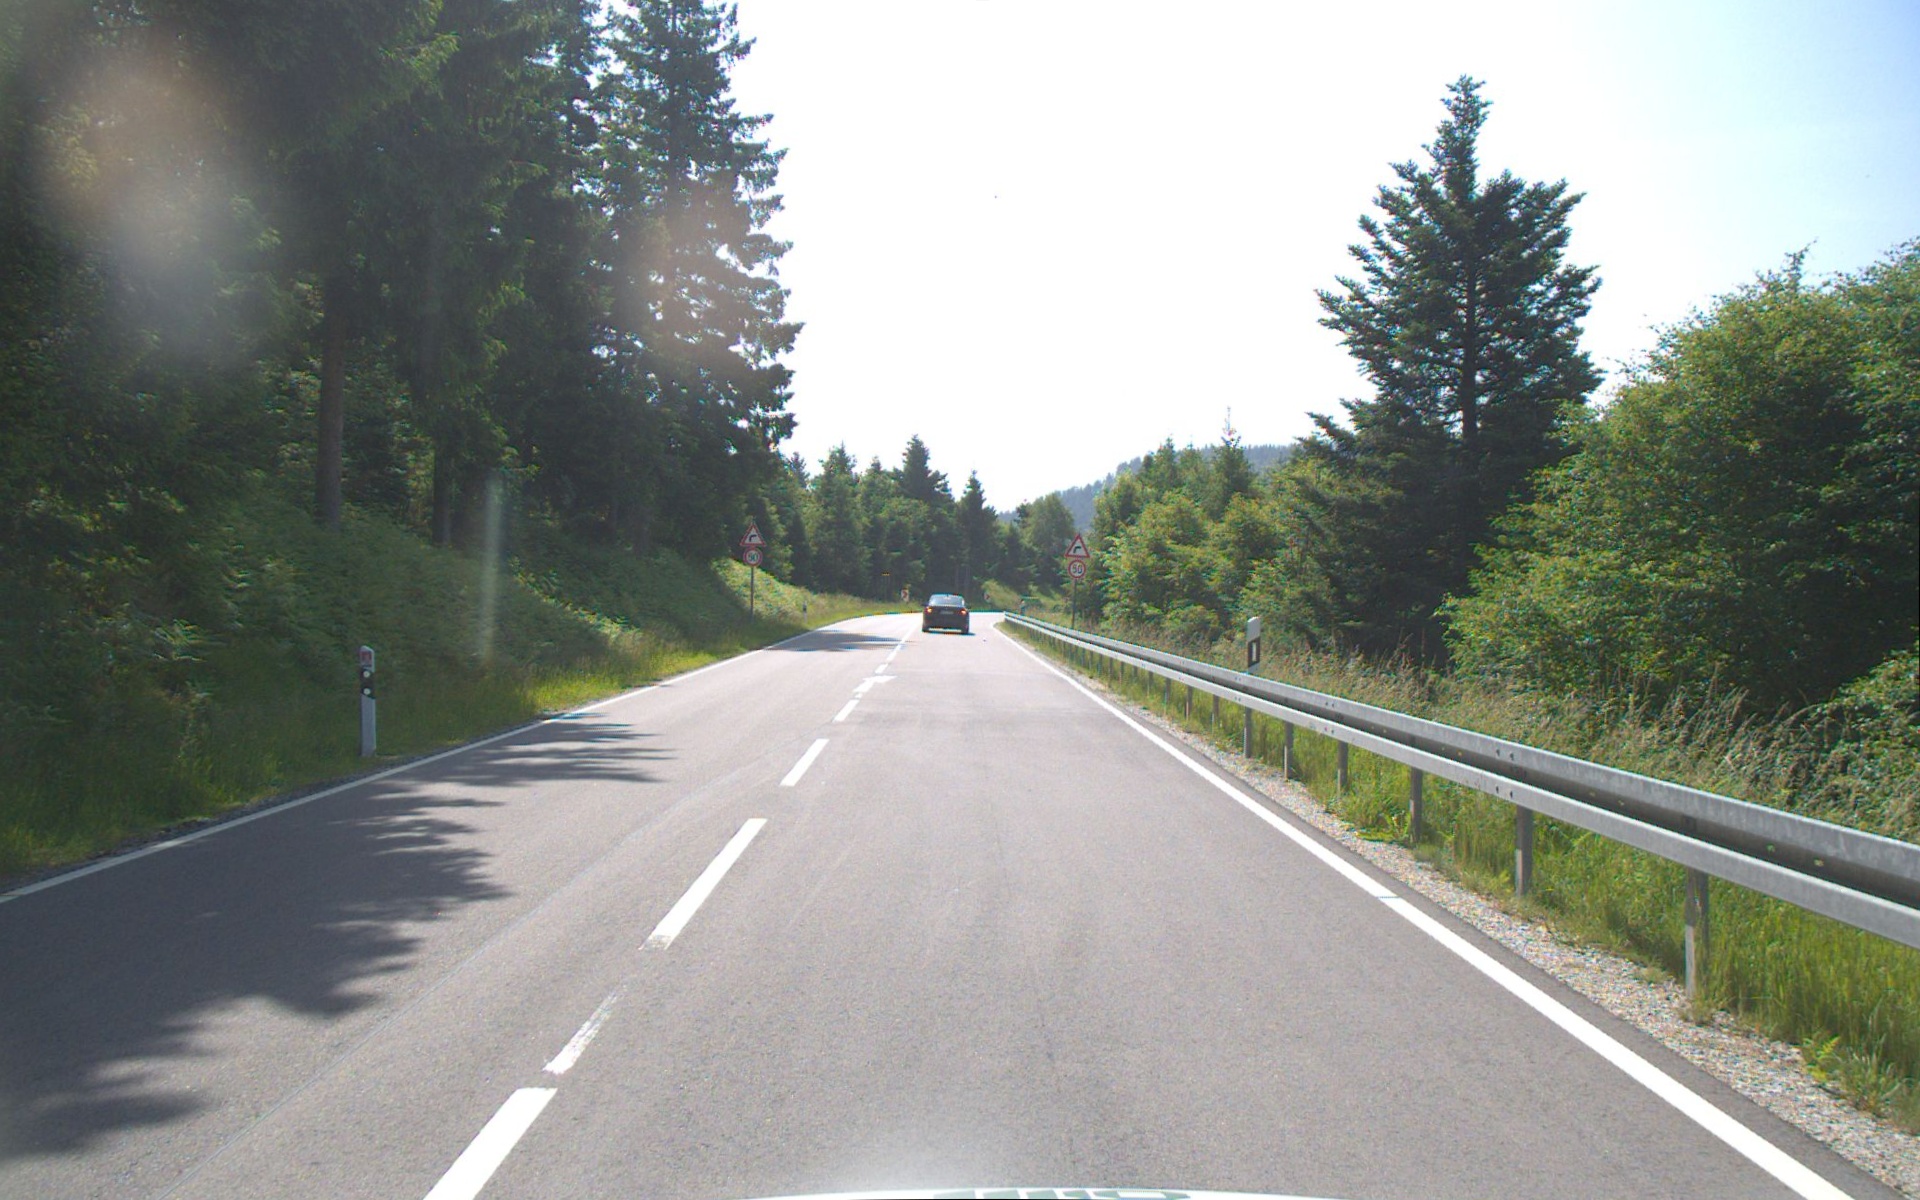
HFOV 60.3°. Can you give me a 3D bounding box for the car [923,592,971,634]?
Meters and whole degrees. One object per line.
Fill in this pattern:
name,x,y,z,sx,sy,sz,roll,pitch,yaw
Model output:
car,-0.479,0.489,63.086,1.739,1.467,3.709,2,0,0
